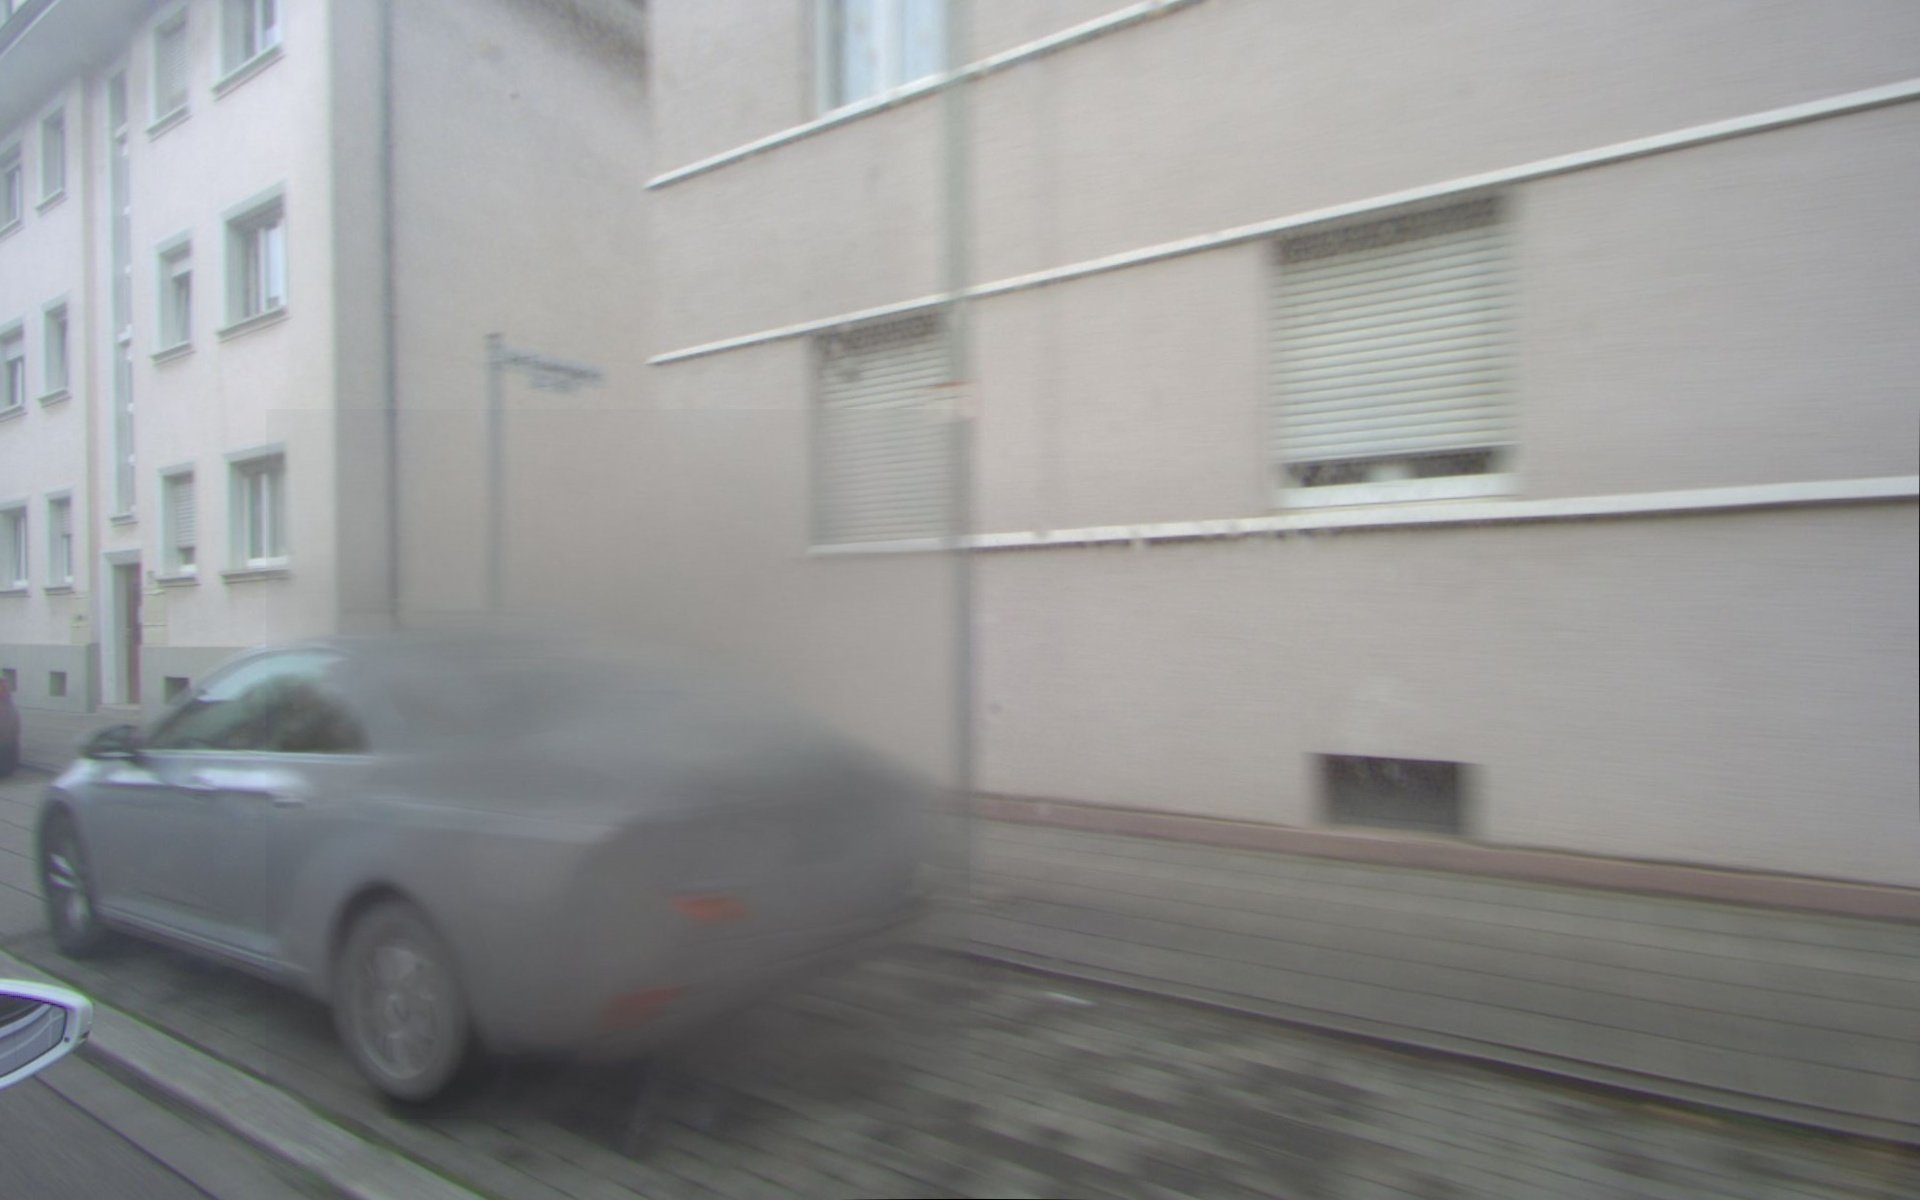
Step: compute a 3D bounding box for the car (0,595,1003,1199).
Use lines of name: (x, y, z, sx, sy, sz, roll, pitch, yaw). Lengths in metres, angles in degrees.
car: (-2.218, 0.779, 4.221, 4.533, 1.486, 1.753, -1, -1, 31)

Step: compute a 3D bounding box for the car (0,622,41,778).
car: (-10.915, 0.970, 9.881, 3.942, 1.439, 1.666, -1, 1, 31)
